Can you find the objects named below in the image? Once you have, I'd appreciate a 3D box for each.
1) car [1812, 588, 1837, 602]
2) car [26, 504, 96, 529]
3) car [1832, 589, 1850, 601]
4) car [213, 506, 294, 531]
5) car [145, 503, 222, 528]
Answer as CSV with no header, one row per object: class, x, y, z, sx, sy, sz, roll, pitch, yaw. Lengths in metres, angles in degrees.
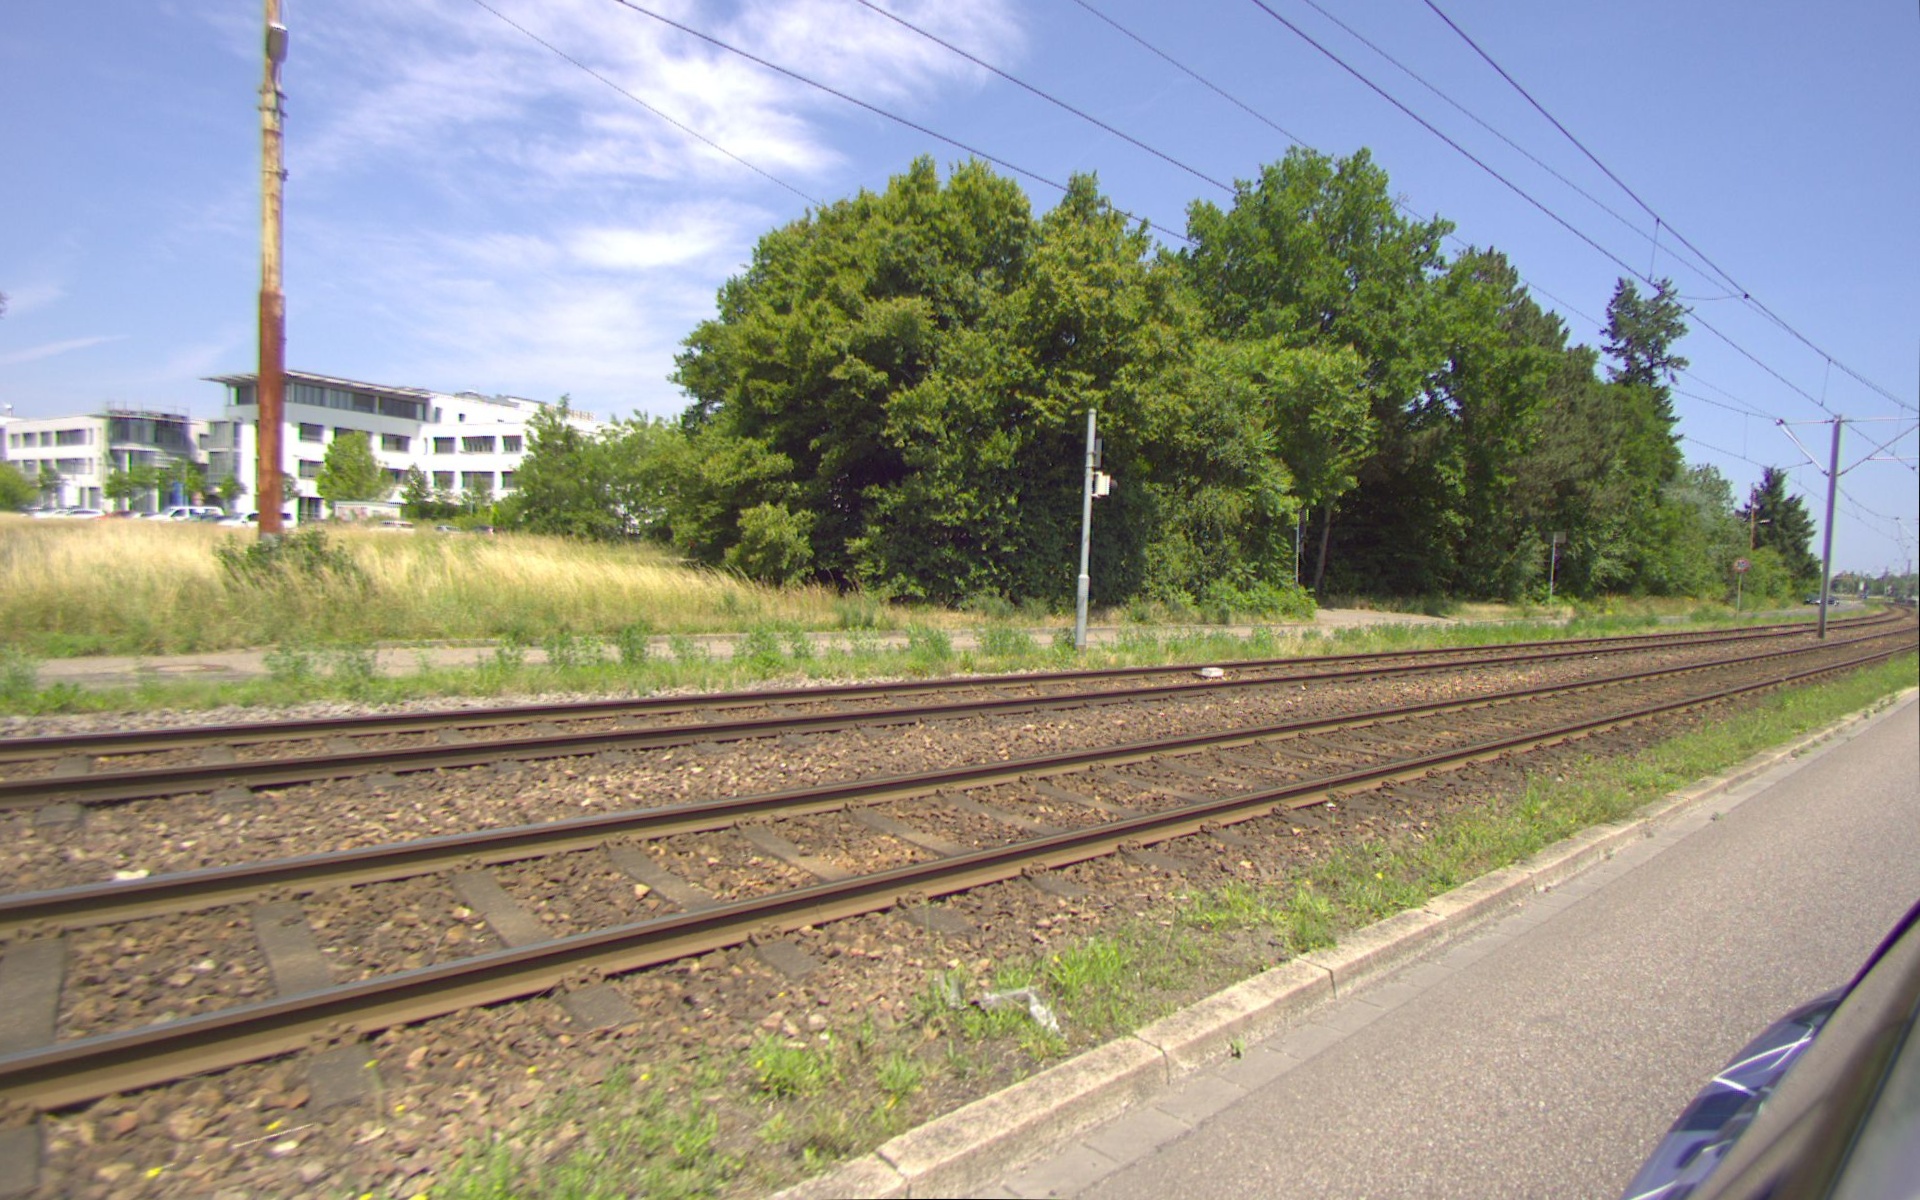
car,107.792,-0.616,126.118,3.934,1.742,1.995,-1,1,-44
car,-79.502,-7.381,89.532,1.987,2.038,4.312,3,3,34
car,129.973,-0.789,149.252,1.940,1.716,3.938,0,1,43
car,-49.829,-5.745,71.457,1.823,1.471,4.312,3,2,34
car,-59.296,-6.438,77.357,1.823,1.596,4.312,3,2,34
